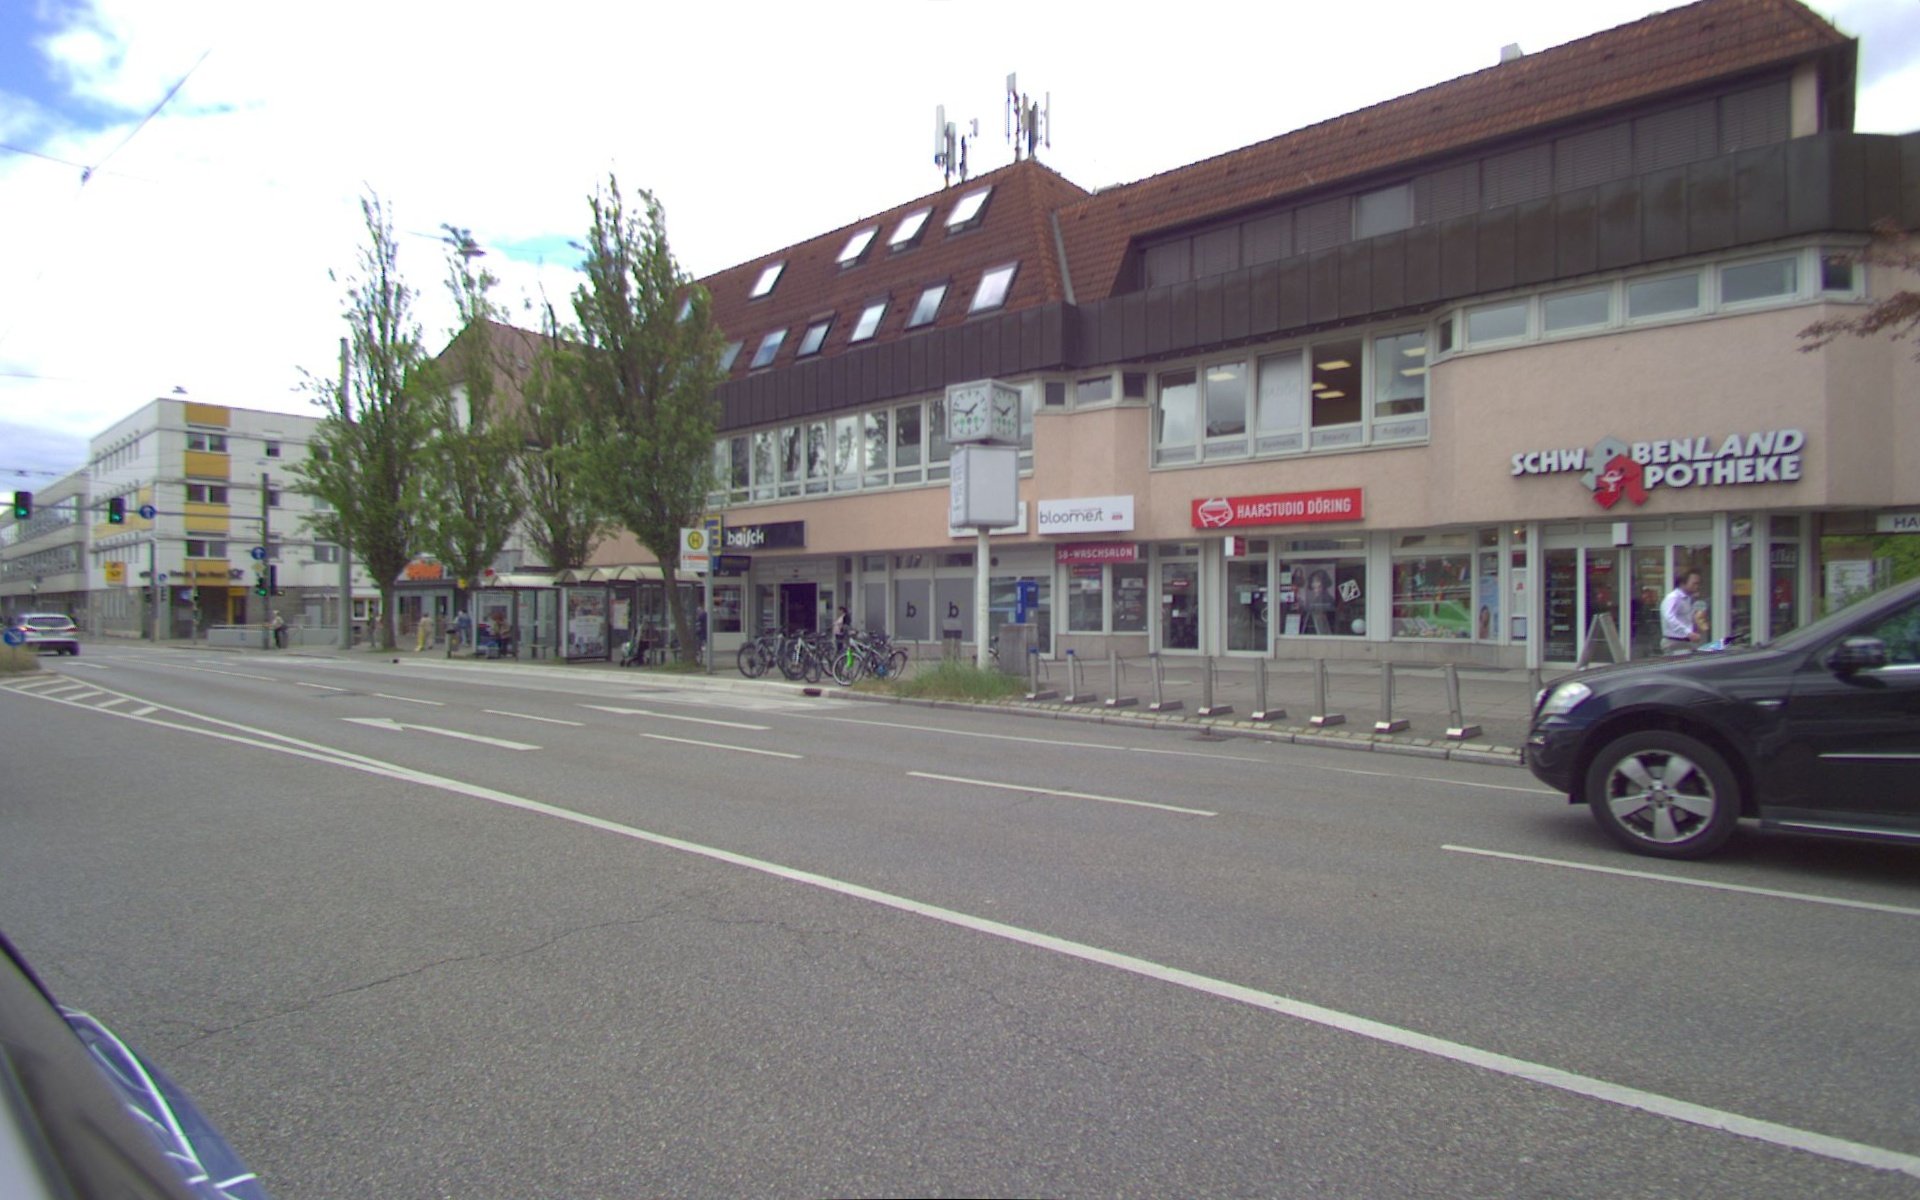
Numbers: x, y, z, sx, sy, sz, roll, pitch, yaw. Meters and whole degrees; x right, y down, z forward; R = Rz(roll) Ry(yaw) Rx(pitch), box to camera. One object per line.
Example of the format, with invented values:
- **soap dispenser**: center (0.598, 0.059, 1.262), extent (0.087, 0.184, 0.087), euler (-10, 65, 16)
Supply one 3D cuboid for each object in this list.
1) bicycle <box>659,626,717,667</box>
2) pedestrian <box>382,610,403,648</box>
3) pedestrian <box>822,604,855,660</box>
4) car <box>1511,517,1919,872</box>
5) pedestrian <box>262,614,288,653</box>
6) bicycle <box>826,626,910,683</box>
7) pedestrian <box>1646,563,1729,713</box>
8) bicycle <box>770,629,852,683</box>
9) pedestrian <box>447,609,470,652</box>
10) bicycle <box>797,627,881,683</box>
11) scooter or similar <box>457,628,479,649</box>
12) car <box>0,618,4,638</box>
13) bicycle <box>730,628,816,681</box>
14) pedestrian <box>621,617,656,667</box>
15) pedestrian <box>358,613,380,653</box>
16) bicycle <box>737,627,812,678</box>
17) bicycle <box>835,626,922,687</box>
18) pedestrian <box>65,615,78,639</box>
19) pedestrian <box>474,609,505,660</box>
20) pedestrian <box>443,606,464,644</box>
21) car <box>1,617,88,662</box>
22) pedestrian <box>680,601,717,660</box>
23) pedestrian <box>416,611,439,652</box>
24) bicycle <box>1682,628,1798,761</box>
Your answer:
- **bicycle**: center (-7.528, 1.273, 27.985), extent (1.929, 1.098, 0.528), euler (-1, 0, 39)
- **pedestrian**: center (-25.915, 1.325, 46.200), extent (0.614, 1.725, 0.580), euler (-2, 1, 39)
- **pedestrian**: center (-3.520, 0.921, 29.313), extent (0.587, 1.559, 0.704), euler (-2, -1, 40)
- **car**: center (5.807, 0.494, 5.422), extent (4.690, 1.752, 2.047), euler (-1, -3, 41)
- **pedestrian**: center (-29.938, 1.483, 44.246), extent (0.612, 1.646, 0.695), euler (-2, 1, 30)
- **bicycle**: center (-1.872, 1.095, 20.889), extent (0.647, 1.098, 2.003), euler (-1, -1, 31)
- **pedestrian**: center (9.054, 0.451, 12.587), extent (0.754, 1.777, 0.719), euler (-2, 1, 39)
- **bicycle**: center (-3.238, 1.203, 22.214), extent (0.647, 1.098, 2.003), euler (-1, -1, 31)
- **pedestrian**: center (-21.001, 1.267, 42.370), extent (0.614, 1.725, 0.580), euler (-2, 1, 39)
- **bicycle**: center (-2.510, 1.123, 21.213), extent (0.647, 1.098, 2.003), euler (-1, -1, 31)
- **scooter or similar**: center (-20.423, 1.609, 42.000), extent (0.702, 0.855, 0.586), euler (-1, -1, 40)
- **car**: center (-96.364, 2.802, 100.213), extent (4.482, 2.029, 1.974), euler (-1, -1, 39)
- **bicycle**: center (-4.184, 1.194, 22.732), extent (0.648, 1.098, 1.999), euler (-1, -1, 36)
- **pedestrian**: center (-8.939, 1.163, 28.145), extent (0.588, 1.374, 0.704), euler (-2, -1, 43)
- **pedestrian**: center (-25.563, 1.419, 43.756), extent (0.614, 1.646, 0.580), euler (-2, 1, 39)
- **bicycle**: center (-4.363, 1.209, 23.943), extent (0.646, 1.098, 2.006), euler (-1, 0, 27)
- **bicycle**: center (-1.568, 1.086, 19.880), extent (0.647, 1.098, 2.003), euler (-1, -1, 31)
- **pedestrian**: center (-67.658, 2.048, 77.085), extent (0.526, 1.816, 0.580), euler (-2, 1, 41)
- **pedestrian**: center (-15.498, 1.128, 33.351), extent (0.709, 1.665, 0.583), euler (-2, -1, 23)
- **pedestrian**: center (-22.085, 1.087, 44.130), extent (0.614, 1.646, 0.580), euler (-2, 1, 39)
- **car**: center (-32.826, 1.382, 36.255), extent (4.343, 1.517, 1.854), euler (0, -2, 42)
- **pedestrian**: center (-8.068, 0.939, 31.261), extent (0.754, 1.777, 0.719), euler (-2, 1, 39)
- **pedestrian**: center (-22.055, 1.318, 41.919), extent (0.614, 1.646, 0.580), euler (-2, 1, 39)
- **bicycle**: center (7.419, 0.838, 9.702), extent (0.647, 1.098, 2.003), euler (-1, -1, 31)
